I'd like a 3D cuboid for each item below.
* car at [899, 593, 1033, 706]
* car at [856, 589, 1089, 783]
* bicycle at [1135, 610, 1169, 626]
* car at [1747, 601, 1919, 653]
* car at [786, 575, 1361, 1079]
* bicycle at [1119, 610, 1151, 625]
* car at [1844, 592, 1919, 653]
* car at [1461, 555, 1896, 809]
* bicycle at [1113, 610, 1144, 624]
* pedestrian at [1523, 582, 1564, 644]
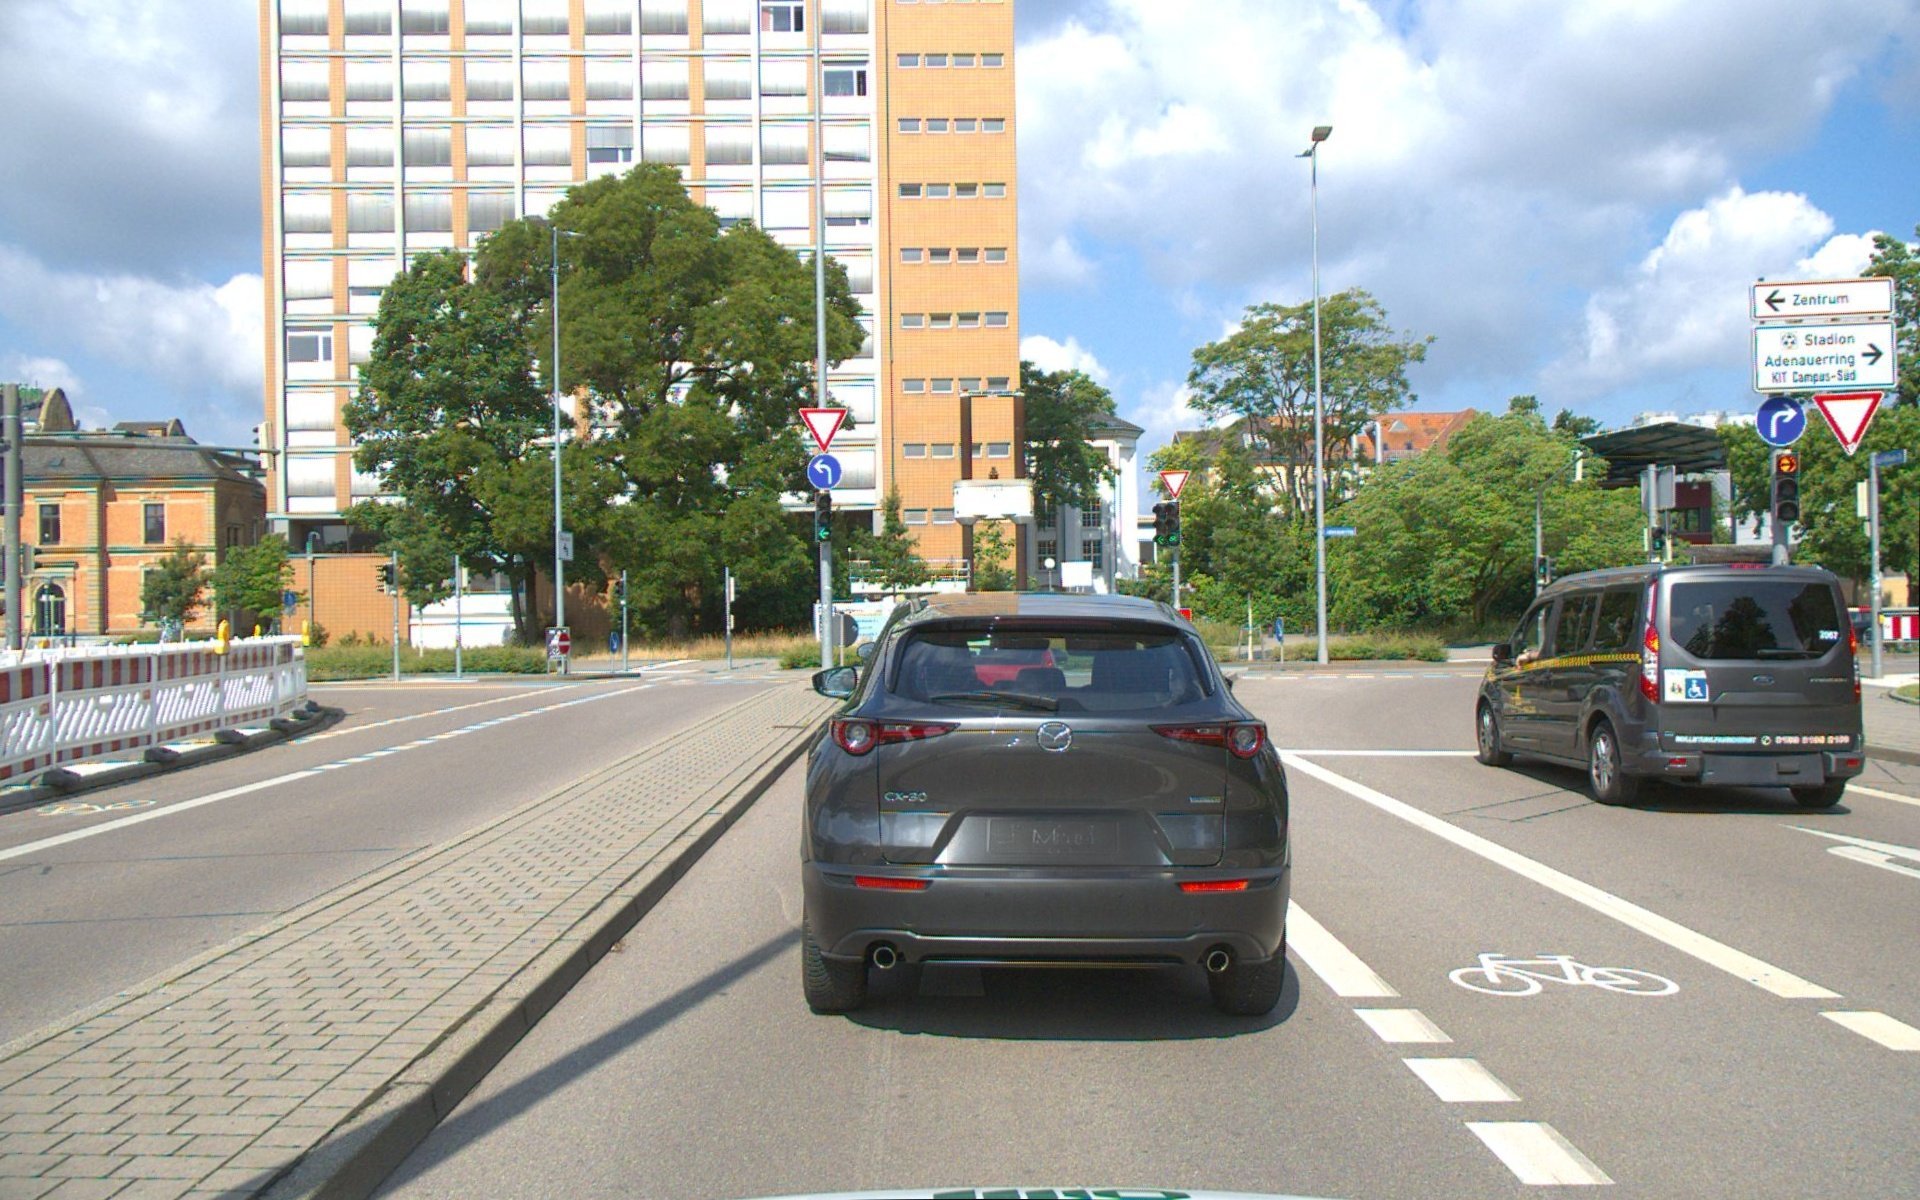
[{"bbox_3d":[0.098,0.689,24.806,1.810,1.498,4.335,-1,0,0],"label":"car"},{"bbox_3d":[0.151,0.701,14.810,1.779,1.465,4.067,1,-1,1],"label":"car"},{"bbox_3d":[12.290,1.161,105.913,2.013,0.953,0.804,-1,-1,-2],"label":"bicycle"},{"bbox_3d":[25.746,0.788,48.844,4.061,1.401,2.000,-1,0,1],"label":"car"},{"bbox_3d":[0.330,0.715,7.279,1.769,1.534,4.204,1,0,-1],"label":"car"},{"bbox_3d":[11.732,1.178,110.673,2.013,0.953,0.804,-1,-1,-2],"label":"bicycle"},{"bbox_3d":[25.183,0.538,41.674,4.664,1.467,2.063,-1,-3,4],"label":"car"},{"bbox_3d":[5.854,0.588,14.186,1.810,1.816,4.672,0,0,1],"label":"car"},{"bbox_3d":[11.777,1.202,115.532,2.013,0.953,0.804,-1,-1,-2],"label":"bicycle"},{"bbox_3d":[18.361,0.412,52.074,0.684,1.890,1.177,-1,-1,-11],"label":"pedestrian"}]
